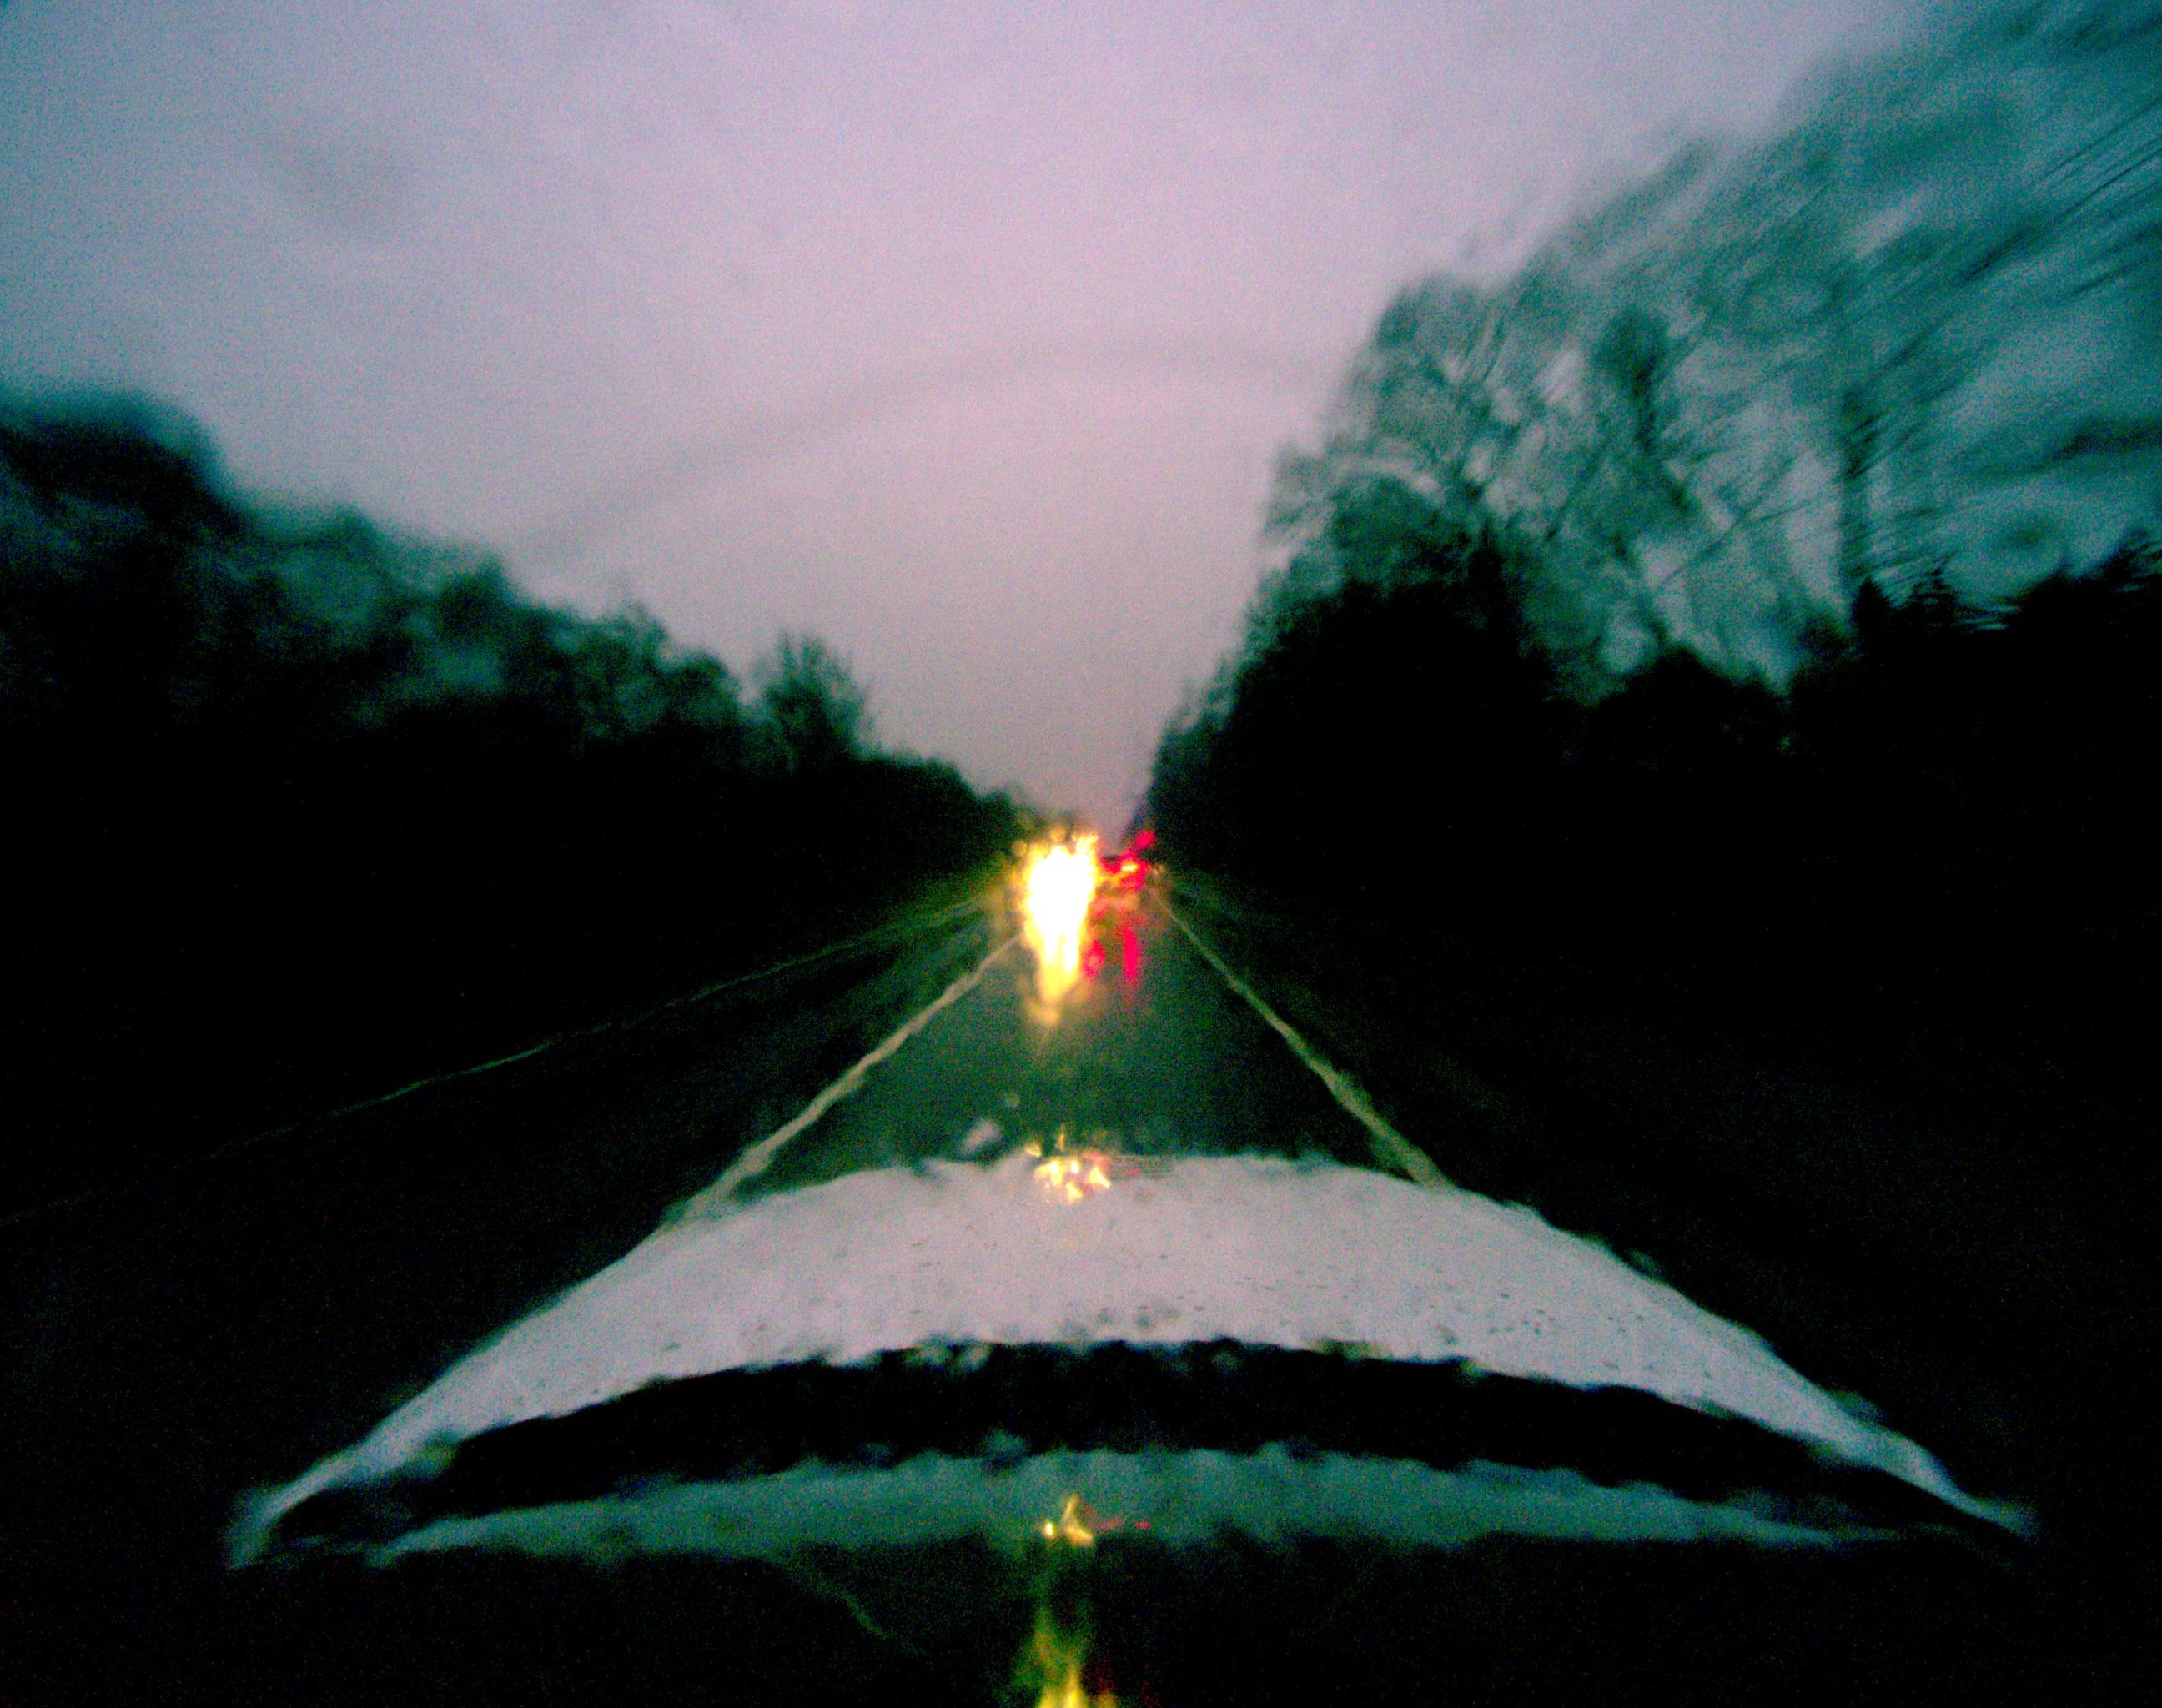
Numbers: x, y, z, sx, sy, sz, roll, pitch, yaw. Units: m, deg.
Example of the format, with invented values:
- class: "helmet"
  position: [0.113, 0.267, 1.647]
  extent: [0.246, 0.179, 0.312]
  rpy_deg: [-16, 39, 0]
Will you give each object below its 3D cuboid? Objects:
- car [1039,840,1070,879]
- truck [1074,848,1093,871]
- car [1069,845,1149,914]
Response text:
- class: "car"
  position: [-1.967, 0.399, 62.834]
  extent: [2.067, 2.811, 6.652]
  rpy_deg: [-1, 0, 0]
- class: "truck"
  position: [0.353, 0.672, 101.643]
  extent: [2.095, 2.771, 6.874]
  rpy_deg: [-1, 0, 2]
- class: "car"
  position: [0.840, 0.714, 24.693]
  extent: [2.190, 1.878, 4.829]
  rpy_deg: [-1, 0, 2]
